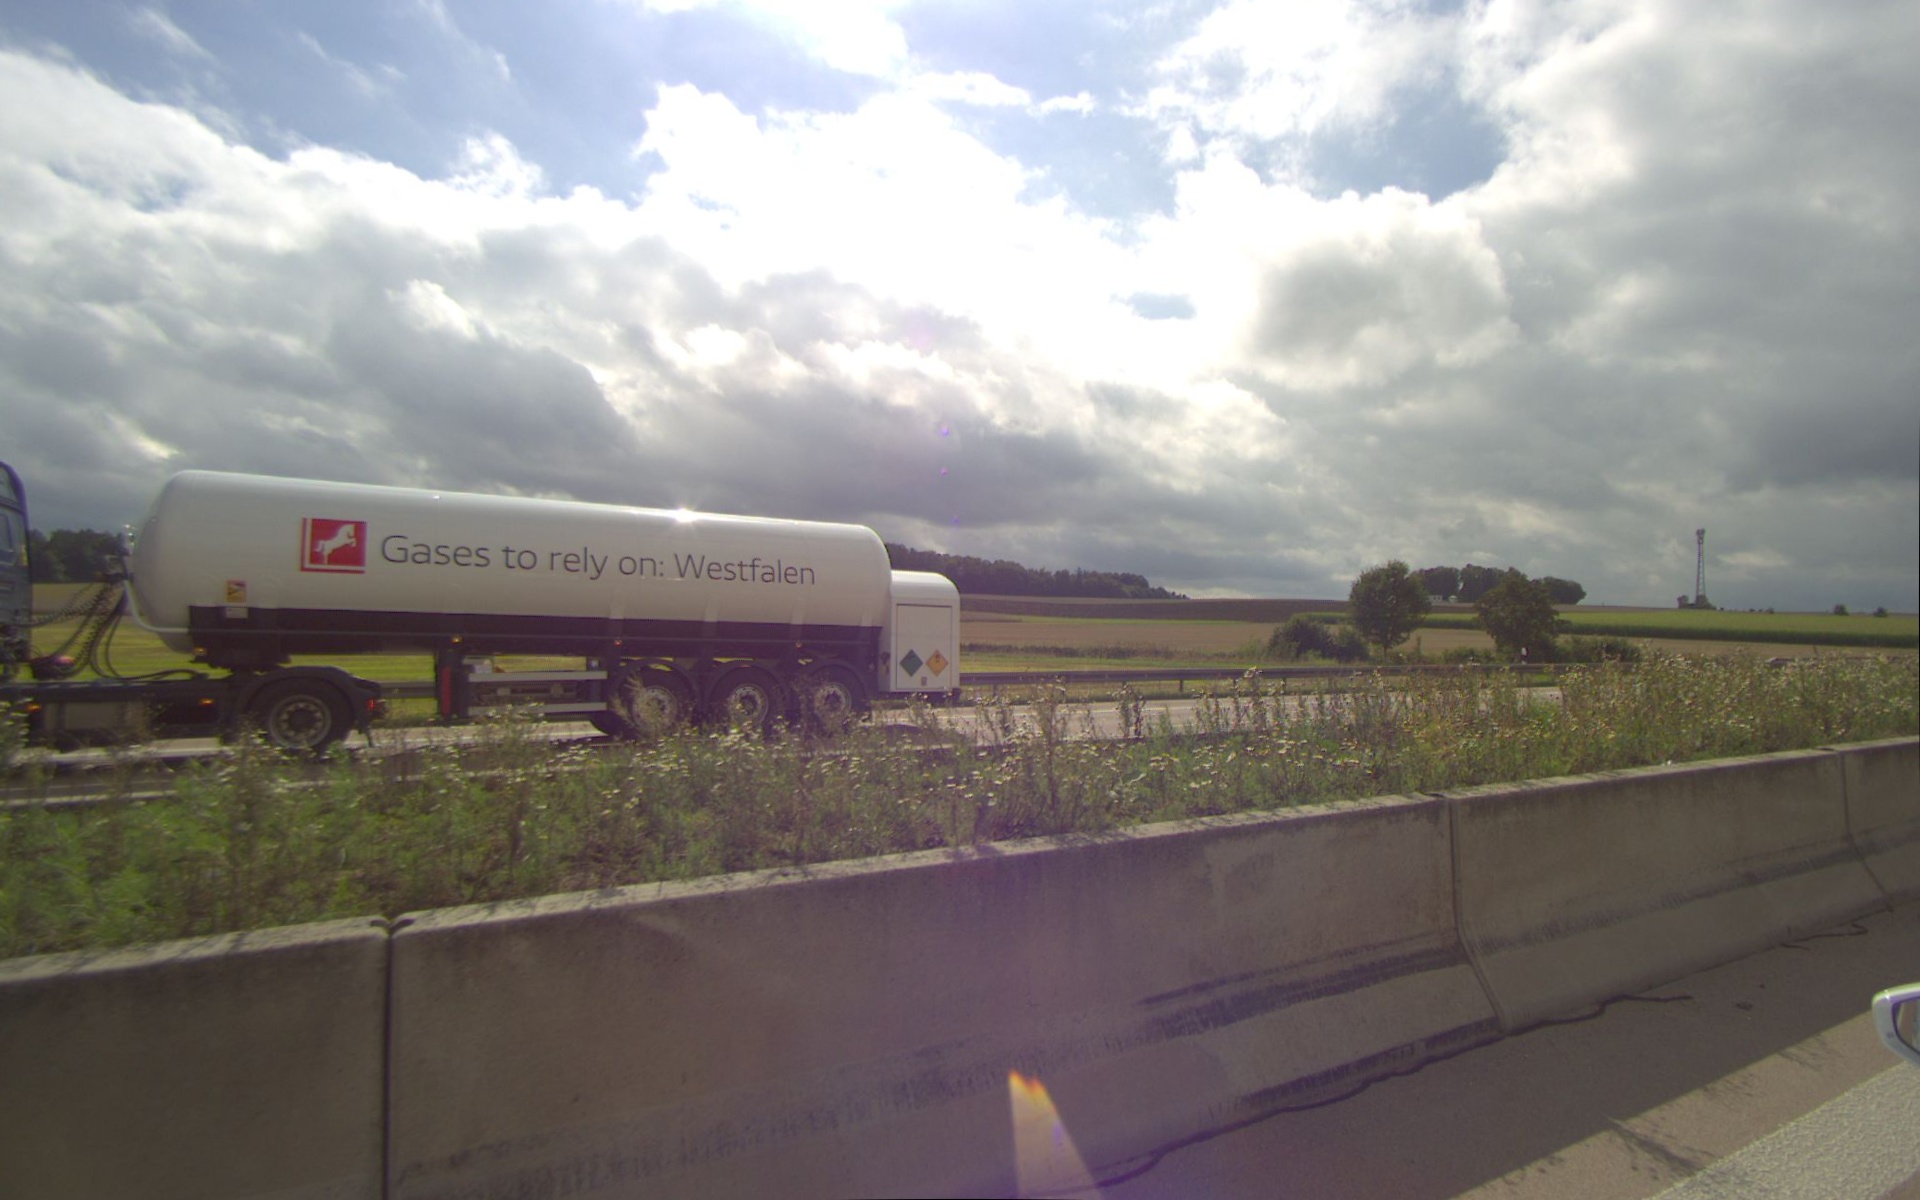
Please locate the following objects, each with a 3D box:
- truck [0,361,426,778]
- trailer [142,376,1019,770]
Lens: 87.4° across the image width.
[{"bbox_3d":[-9.738,-0.245,11.545,6.258,4.152,2.879,1,-3,-29],"label":"truck"},{"bbox_3d":[-4.493,-0.123,14.530,10.904,4.152,2.879,1,-3,-30],"label":"trailer"}]
